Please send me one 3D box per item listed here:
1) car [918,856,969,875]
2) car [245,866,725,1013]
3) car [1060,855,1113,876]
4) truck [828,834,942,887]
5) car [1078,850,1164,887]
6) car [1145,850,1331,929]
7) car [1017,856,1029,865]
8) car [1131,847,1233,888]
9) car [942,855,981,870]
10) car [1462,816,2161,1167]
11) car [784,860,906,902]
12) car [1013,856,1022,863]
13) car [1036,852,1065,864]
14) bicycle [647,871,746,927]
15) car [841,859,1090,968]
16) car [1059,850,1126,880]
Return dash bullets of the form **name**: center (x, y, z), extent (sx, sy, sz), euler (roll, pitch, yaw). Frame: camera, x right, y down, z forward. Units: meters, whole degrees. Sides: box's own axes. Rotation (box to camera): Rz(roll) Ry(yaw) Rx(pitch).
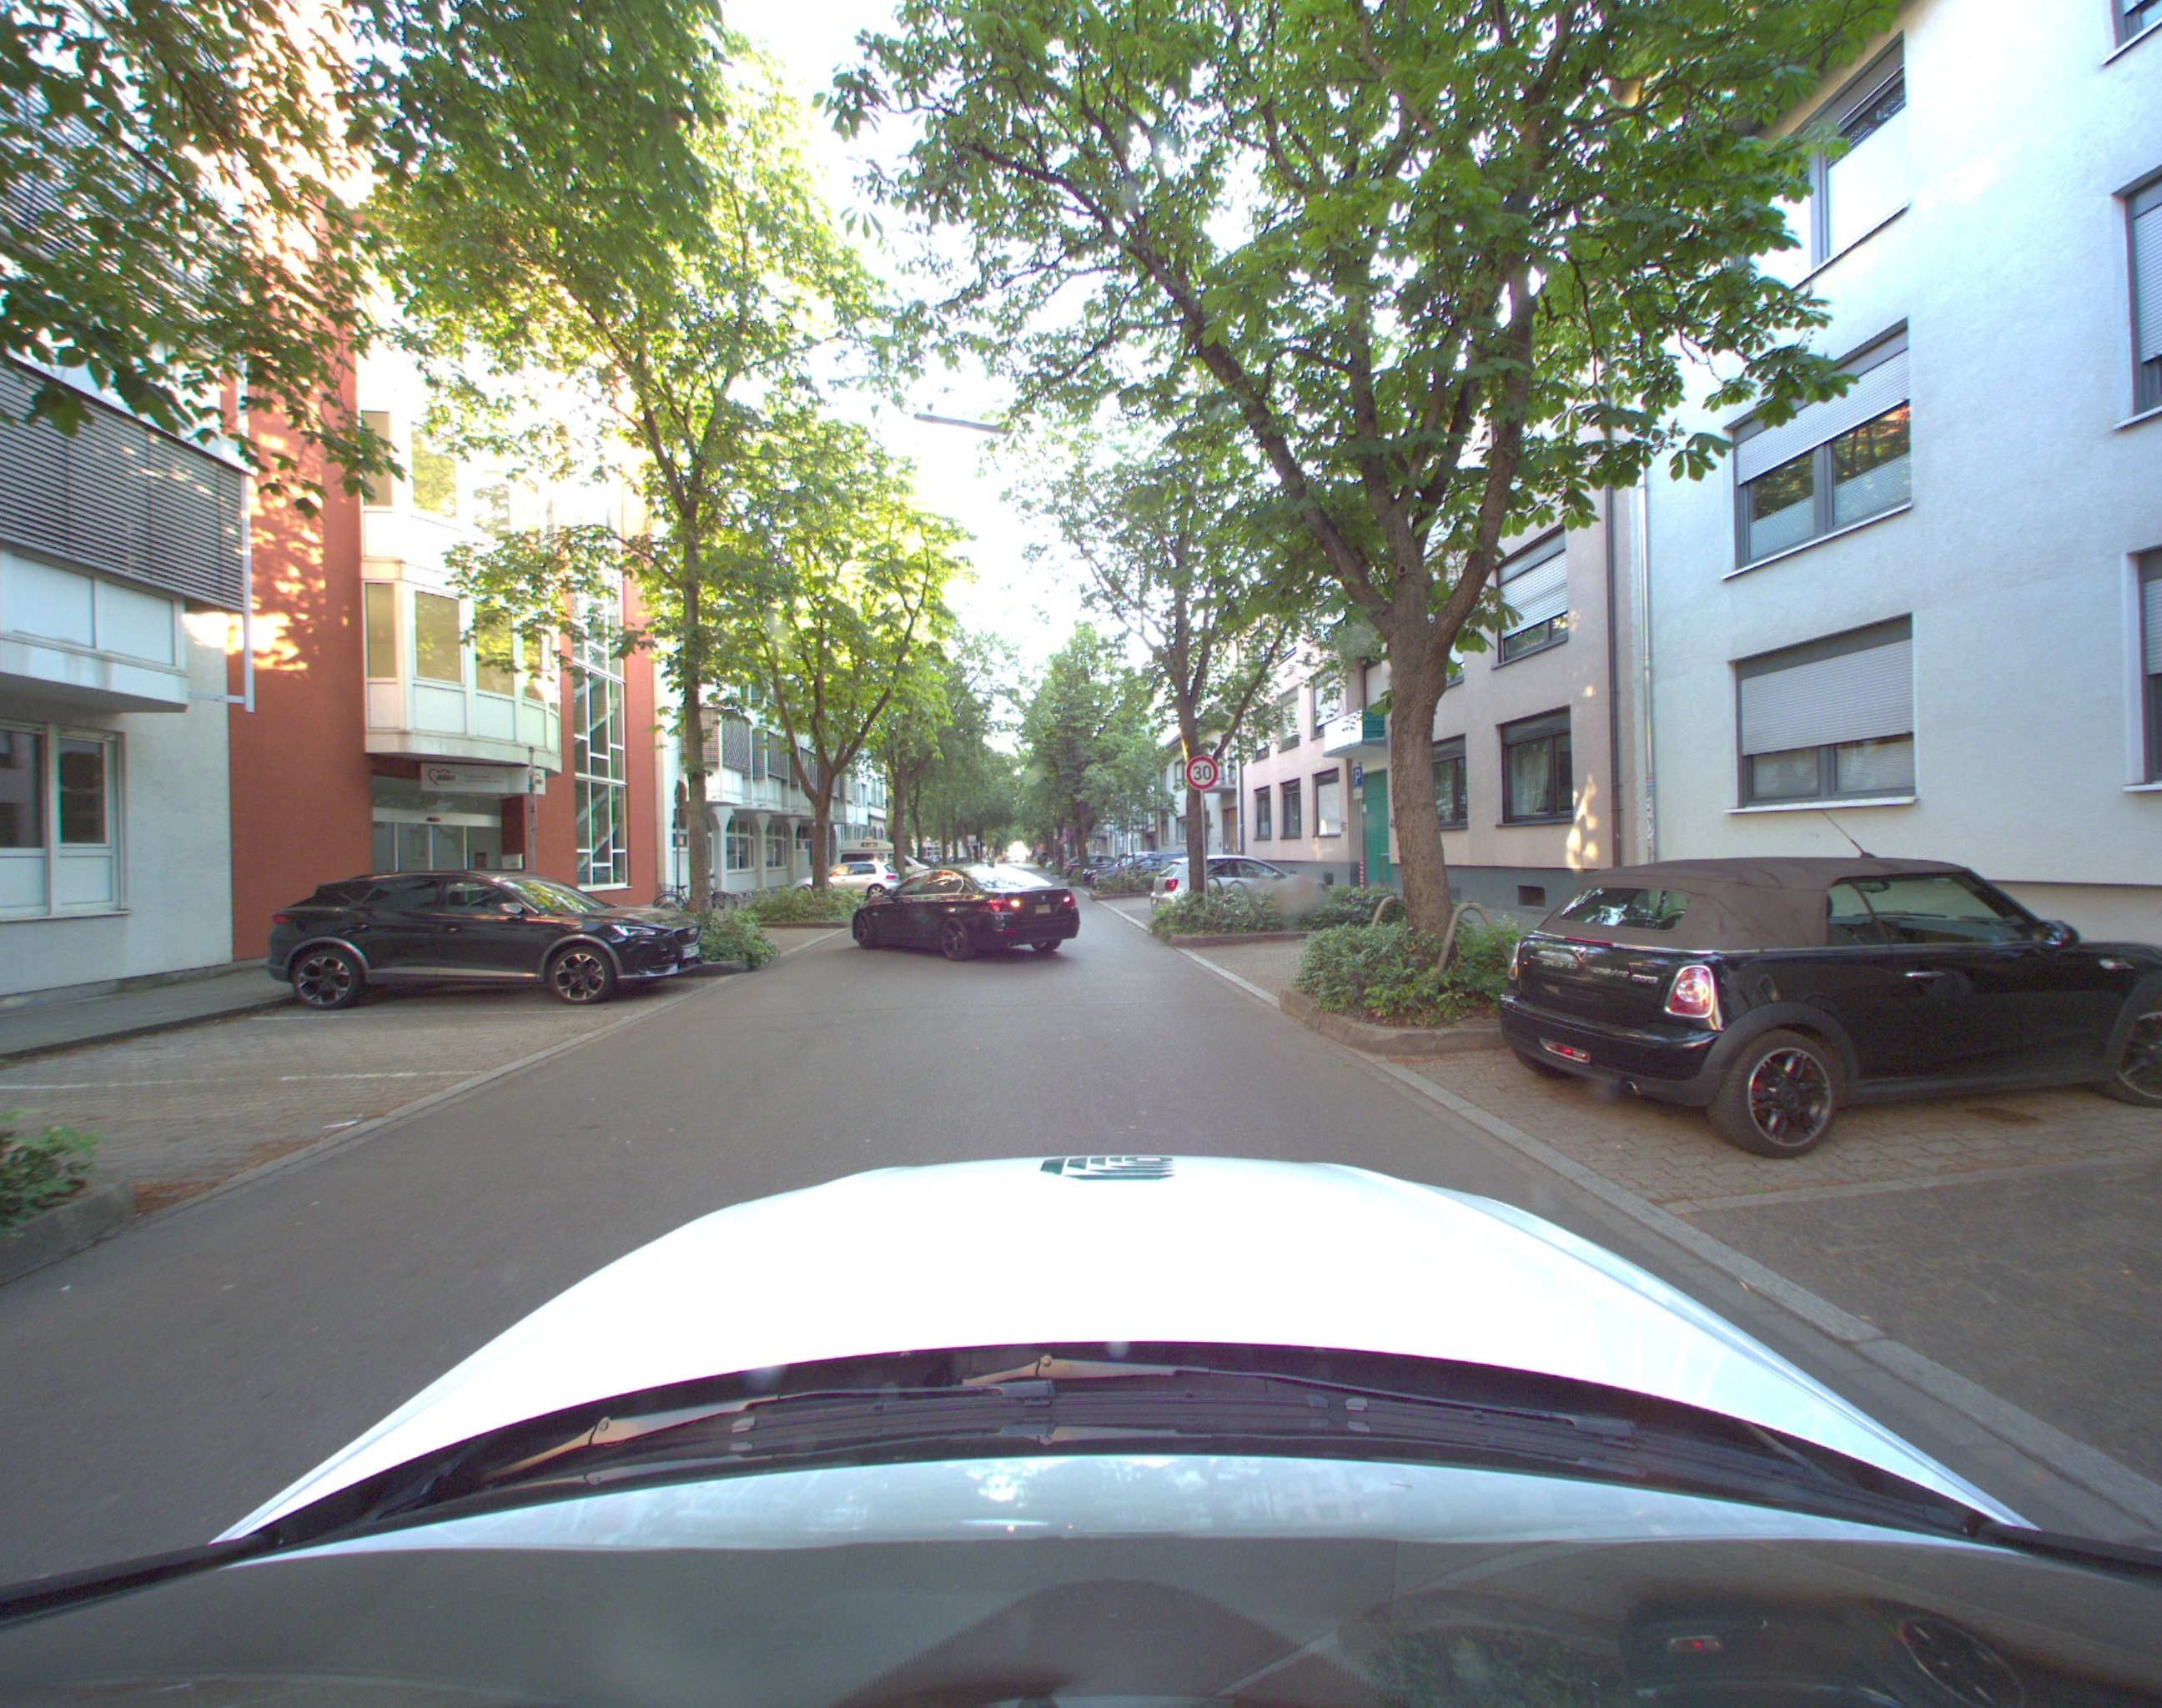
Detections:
- **car**: center (-11.228, 0.902, 66.675), extent (4.015, 1.471, 1.637), euler (0, 0, -5)
- **car**: center (-6.910, 0.936, 9.895), extent (4.349, 1.509, 1.832), euler (0, 0, -5)
- **car**: center (0.392, 0.810, 59.754), extent (3.653, 1.393, 1.562), euler (-2, 0, -7)
- **truck**: center (-9.287, 0.287, 38.982), extent (4.989, 2.441, 1.914), euler (0, 1, -4)
- **car**: center (1.839, 0.654, 38.000), extent (3.788, 1.530, 1.562), euler (-2, 0, -7)
- **car**: center (3.357, 0.722, 17.723), extent (3.653, 1.479, 1.562), euler (-2, 0, -7)
- **car**: center (-10.098, 1.100, 141.786), extent (1.990, 1.552, 3.993), euler (-1, 0, -5)
- **car**: center (3.879, 0.510, 31.694), extent (3.653, 1.393, 1.562), euler (-2, 0, -7)
- **car**: center (-12.884, 0.915, 87.720), extent (4.015, 1.471, 1.637), euler (0, 0, -5)
- **car**: center (4.510, 0.616, 4.905), extent (3.703, 1.428, 1.622), euler (-4, 0, -10)
- **car**: center (-8.808, 1.003, 30.640), extent (4.125, 1.471, 1.637), euler (0, 0, -5)
- **car**: center (-14.046, 1.284, 179.200), extent (1.891, 1.475, 3.995), euler (-1, 0, -4)
- **car**: center (-3.856, 0.548, 102.616), extent (3.653, 1.393, 1.562), euler (-1, 0, -7)
- **bicycle**: center (-8.827, 1.017, 18.756), extent (1.973, 1.199, 0.499), euler (-1, 0, -16)
- **car**: center (-2.084, 0.851, 13.510), extent (1.778, 1.450, 4.611), euler (-1, 0, -42)
- **car**: center (0.650, 0.624, 46.797), extent (3.653, 1.536, 1.562), euler (-2, 0, -7)
